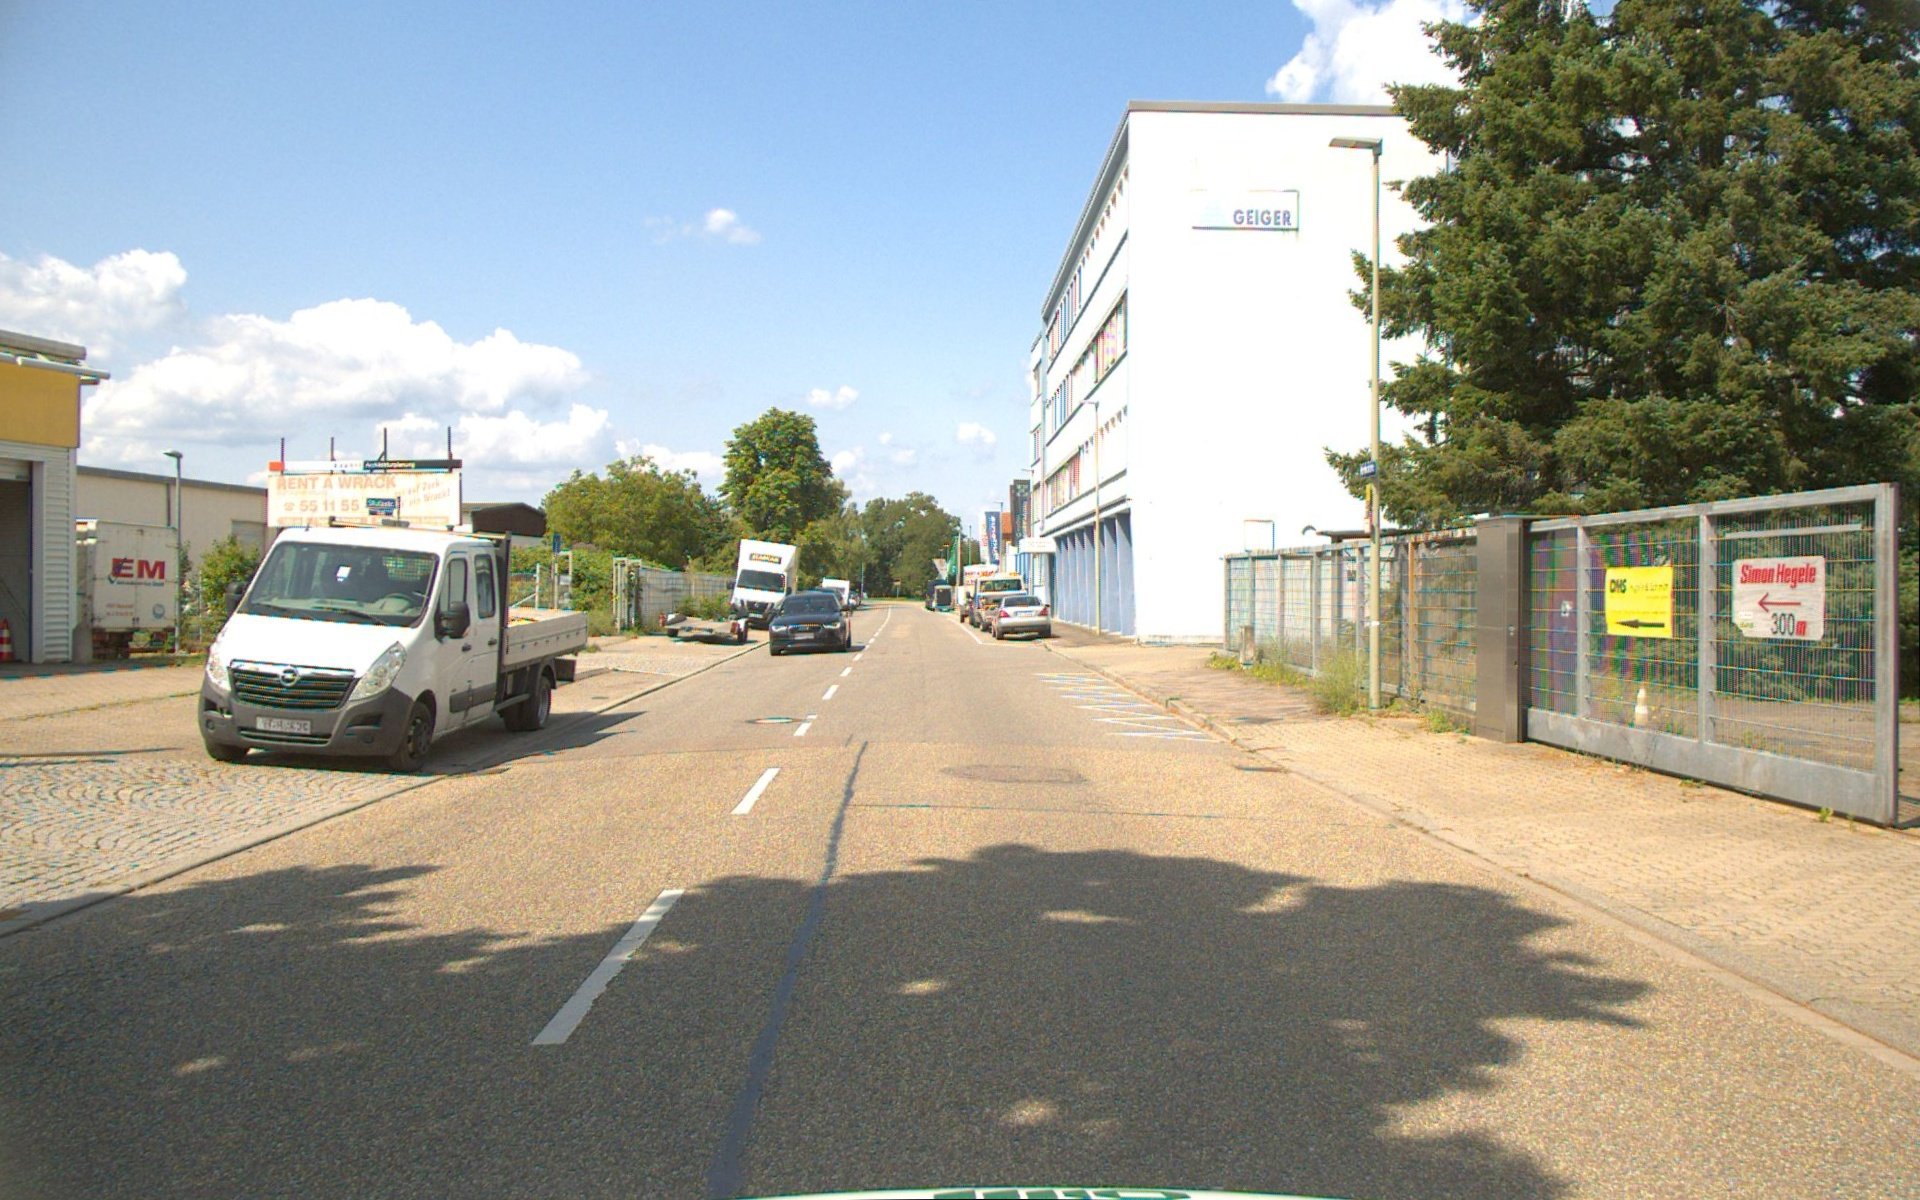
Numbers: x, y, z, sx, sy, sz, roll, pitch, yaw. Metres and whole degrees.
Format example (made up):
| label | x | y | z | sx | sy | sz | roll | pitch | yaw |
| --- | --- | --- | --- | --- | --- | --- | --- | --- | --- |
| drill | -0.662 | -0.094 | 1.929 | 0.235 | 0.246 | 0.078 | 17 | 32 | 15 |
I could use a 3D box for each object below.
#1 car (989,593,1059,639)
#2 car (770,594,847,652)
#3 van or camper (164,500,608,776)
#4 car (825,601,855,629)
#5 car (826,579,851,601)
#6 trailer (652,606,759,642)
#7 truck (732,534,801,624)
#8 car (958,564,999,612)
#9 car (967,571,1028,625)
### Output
| label | x | y | z | sx | sy | sz | roll | pitch | yaw |
| --- | --- | --- | --- | --- | --- | --- | --- | --- | --- |
| car | 1.935 | 0.471 | 51.219 | 1.889 | 1.333 | 3.999 | 0 | 0 | -2 |
| car | -3.704 | 0.531 | 41.040 | 1.621 | 1.348 | 4.415 | 0 | 0 | -1 |
| van or camper | -5.954 | 0.318 | 18.646 | 2.128 | 2.455 | 7.699 | 0 | 0 | 2 |
| car | -7.387 | 0.887 | 101.918 | 1.678 | 1.679 | 3.999 | 0 | 0 | -2 |
| car | -10.345 | -0.816 | 141.368 | 1.953 | 1.847 | 3.999 | 0 | 0 | -1 |
| trailer | -7.383 | 0.676 | 48.585 | 2.368 | 0.828 | 5.536 | 2 | 0 | -1 |
| truck | -7.269 | -0.772 | 62.783 | 1.988 | 3.209 | 6.498 | 0 | 0 | -1 |
| car | 0.832 | -0.556 | 75.344 | 1.673 | 2.126 | 3.998 | 0 | 0 | -2 |
| car | 1.422 | -0.087 | 64.906 | 2.171 | 2.049 | 5.483 | 0 | 0 | -1 |
